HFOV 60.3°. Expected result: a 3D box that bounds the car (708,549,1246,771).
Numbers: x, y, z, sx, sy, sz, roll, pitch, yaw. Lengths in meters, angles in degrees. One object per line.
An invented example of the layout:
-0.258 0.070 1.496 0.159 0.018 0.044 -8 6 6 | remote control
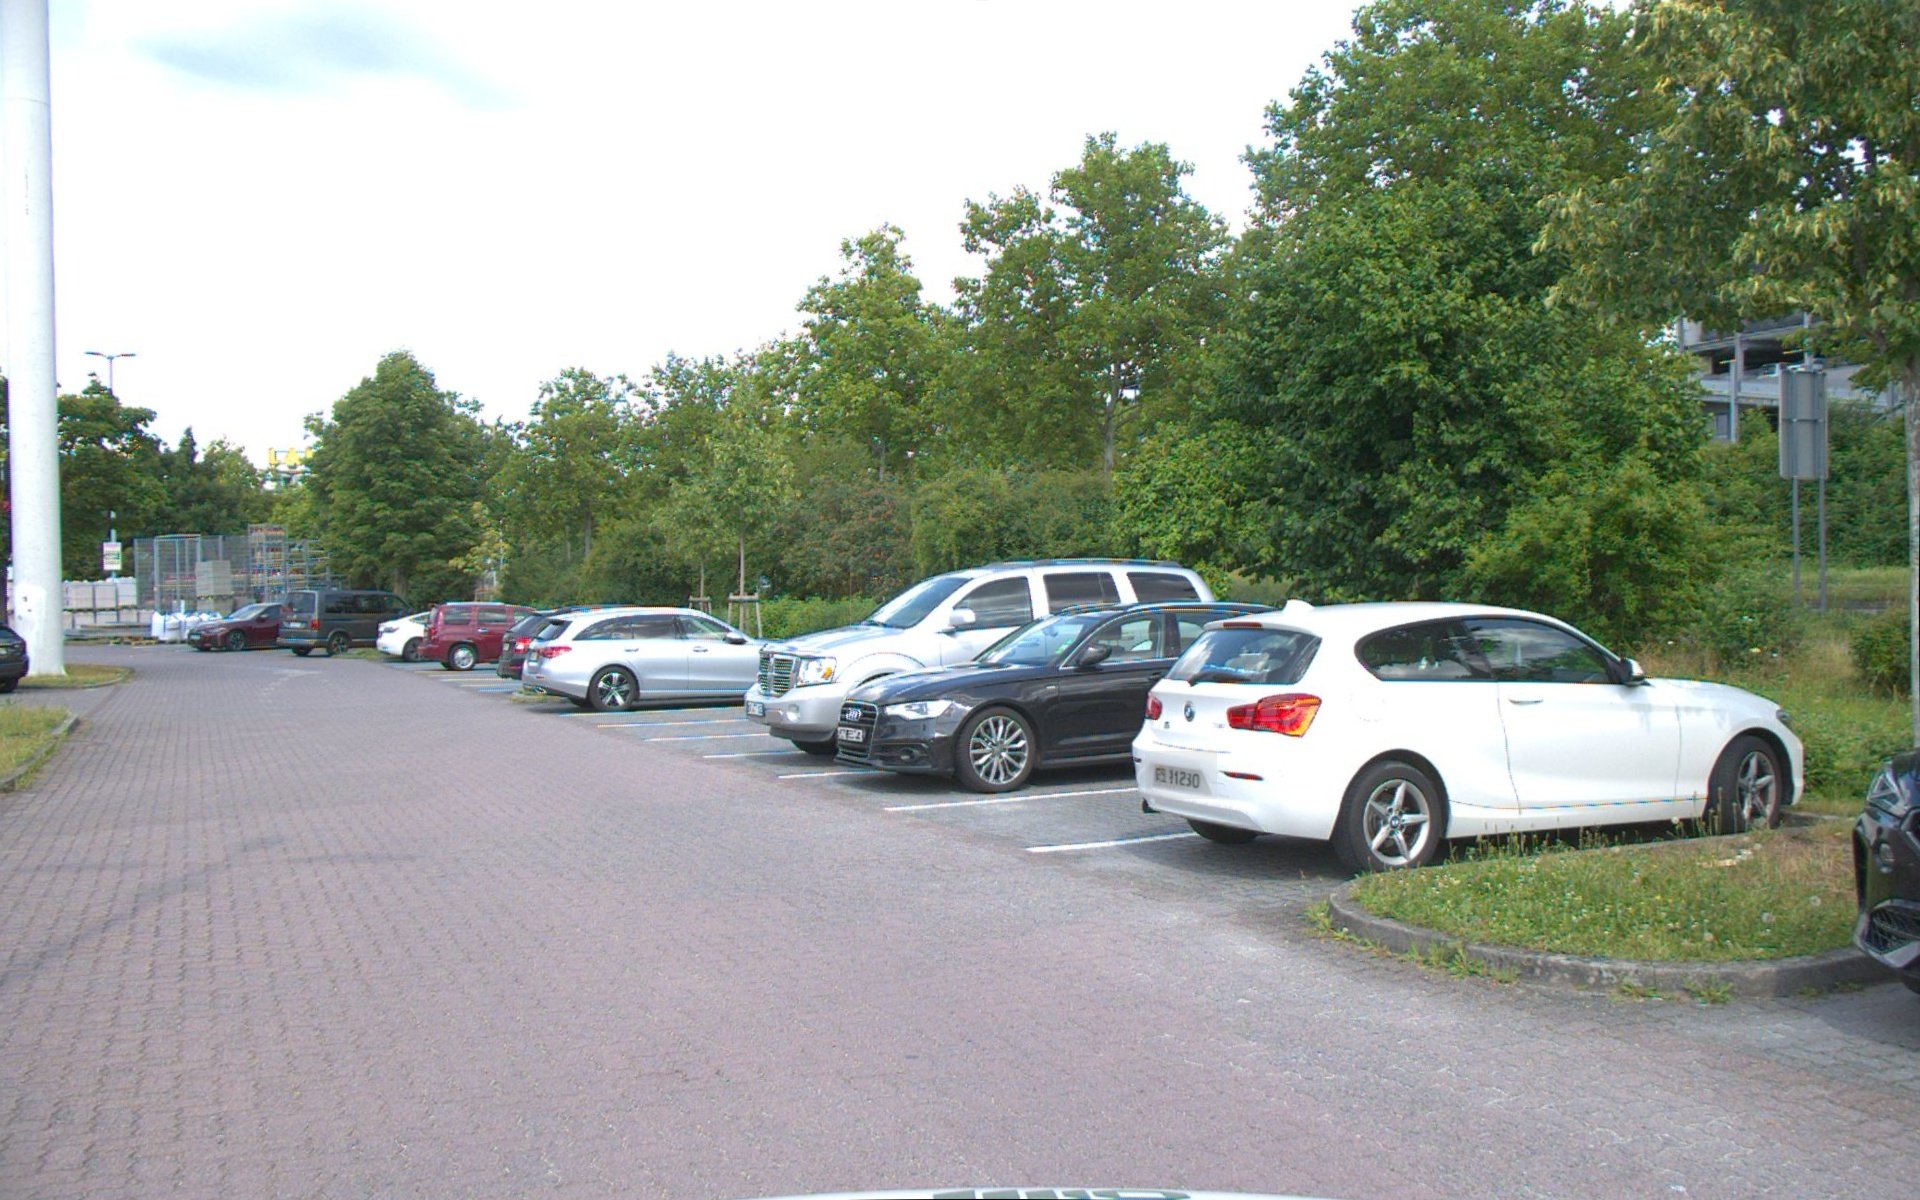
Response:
0.218 0.499 16.608 5.070 1.875 1.973 -2 0 -27 | car

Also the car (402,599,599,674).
-11.101 0.845 39.972 4.257 1.624 1.982 -2 0 -28 | car

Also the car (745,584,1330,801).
0.687 0.676 14.037 4.649 1.476 1.825 -2 0 -25 | car

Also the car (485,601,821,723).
-4.516 0.850 24.471 4.583 1.531 1.769 -2 0 -27 | car

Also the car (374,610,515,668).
-14.512 1.095 46.551 3.588 1.494 1.620 -1 -1 -26 | car

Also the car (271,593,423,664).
-18.689 0.875 50.562 1.907 2.054 4.044 -2 -2 34 | car

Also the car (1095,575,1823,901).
2.983 0.693 9.864 4.014 1.536 1.678 -2 -1 -24 | car

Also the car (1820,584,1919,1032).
5.174 0.609 5.759 4.177 1.435 1.719 -2 0 -26 | car

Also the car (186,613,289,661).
-22.901 1.185 52.480 1.328 1.457 2.678 -2 -3 38 | car

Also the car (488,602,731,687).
-6.216 0.779 29.360 3.940 1.405 1.684 0 -2 -27 | car

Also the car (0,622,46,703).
-19.626 1.219 31.582 3.997 1.464 1.826 -1 0 26 | car
